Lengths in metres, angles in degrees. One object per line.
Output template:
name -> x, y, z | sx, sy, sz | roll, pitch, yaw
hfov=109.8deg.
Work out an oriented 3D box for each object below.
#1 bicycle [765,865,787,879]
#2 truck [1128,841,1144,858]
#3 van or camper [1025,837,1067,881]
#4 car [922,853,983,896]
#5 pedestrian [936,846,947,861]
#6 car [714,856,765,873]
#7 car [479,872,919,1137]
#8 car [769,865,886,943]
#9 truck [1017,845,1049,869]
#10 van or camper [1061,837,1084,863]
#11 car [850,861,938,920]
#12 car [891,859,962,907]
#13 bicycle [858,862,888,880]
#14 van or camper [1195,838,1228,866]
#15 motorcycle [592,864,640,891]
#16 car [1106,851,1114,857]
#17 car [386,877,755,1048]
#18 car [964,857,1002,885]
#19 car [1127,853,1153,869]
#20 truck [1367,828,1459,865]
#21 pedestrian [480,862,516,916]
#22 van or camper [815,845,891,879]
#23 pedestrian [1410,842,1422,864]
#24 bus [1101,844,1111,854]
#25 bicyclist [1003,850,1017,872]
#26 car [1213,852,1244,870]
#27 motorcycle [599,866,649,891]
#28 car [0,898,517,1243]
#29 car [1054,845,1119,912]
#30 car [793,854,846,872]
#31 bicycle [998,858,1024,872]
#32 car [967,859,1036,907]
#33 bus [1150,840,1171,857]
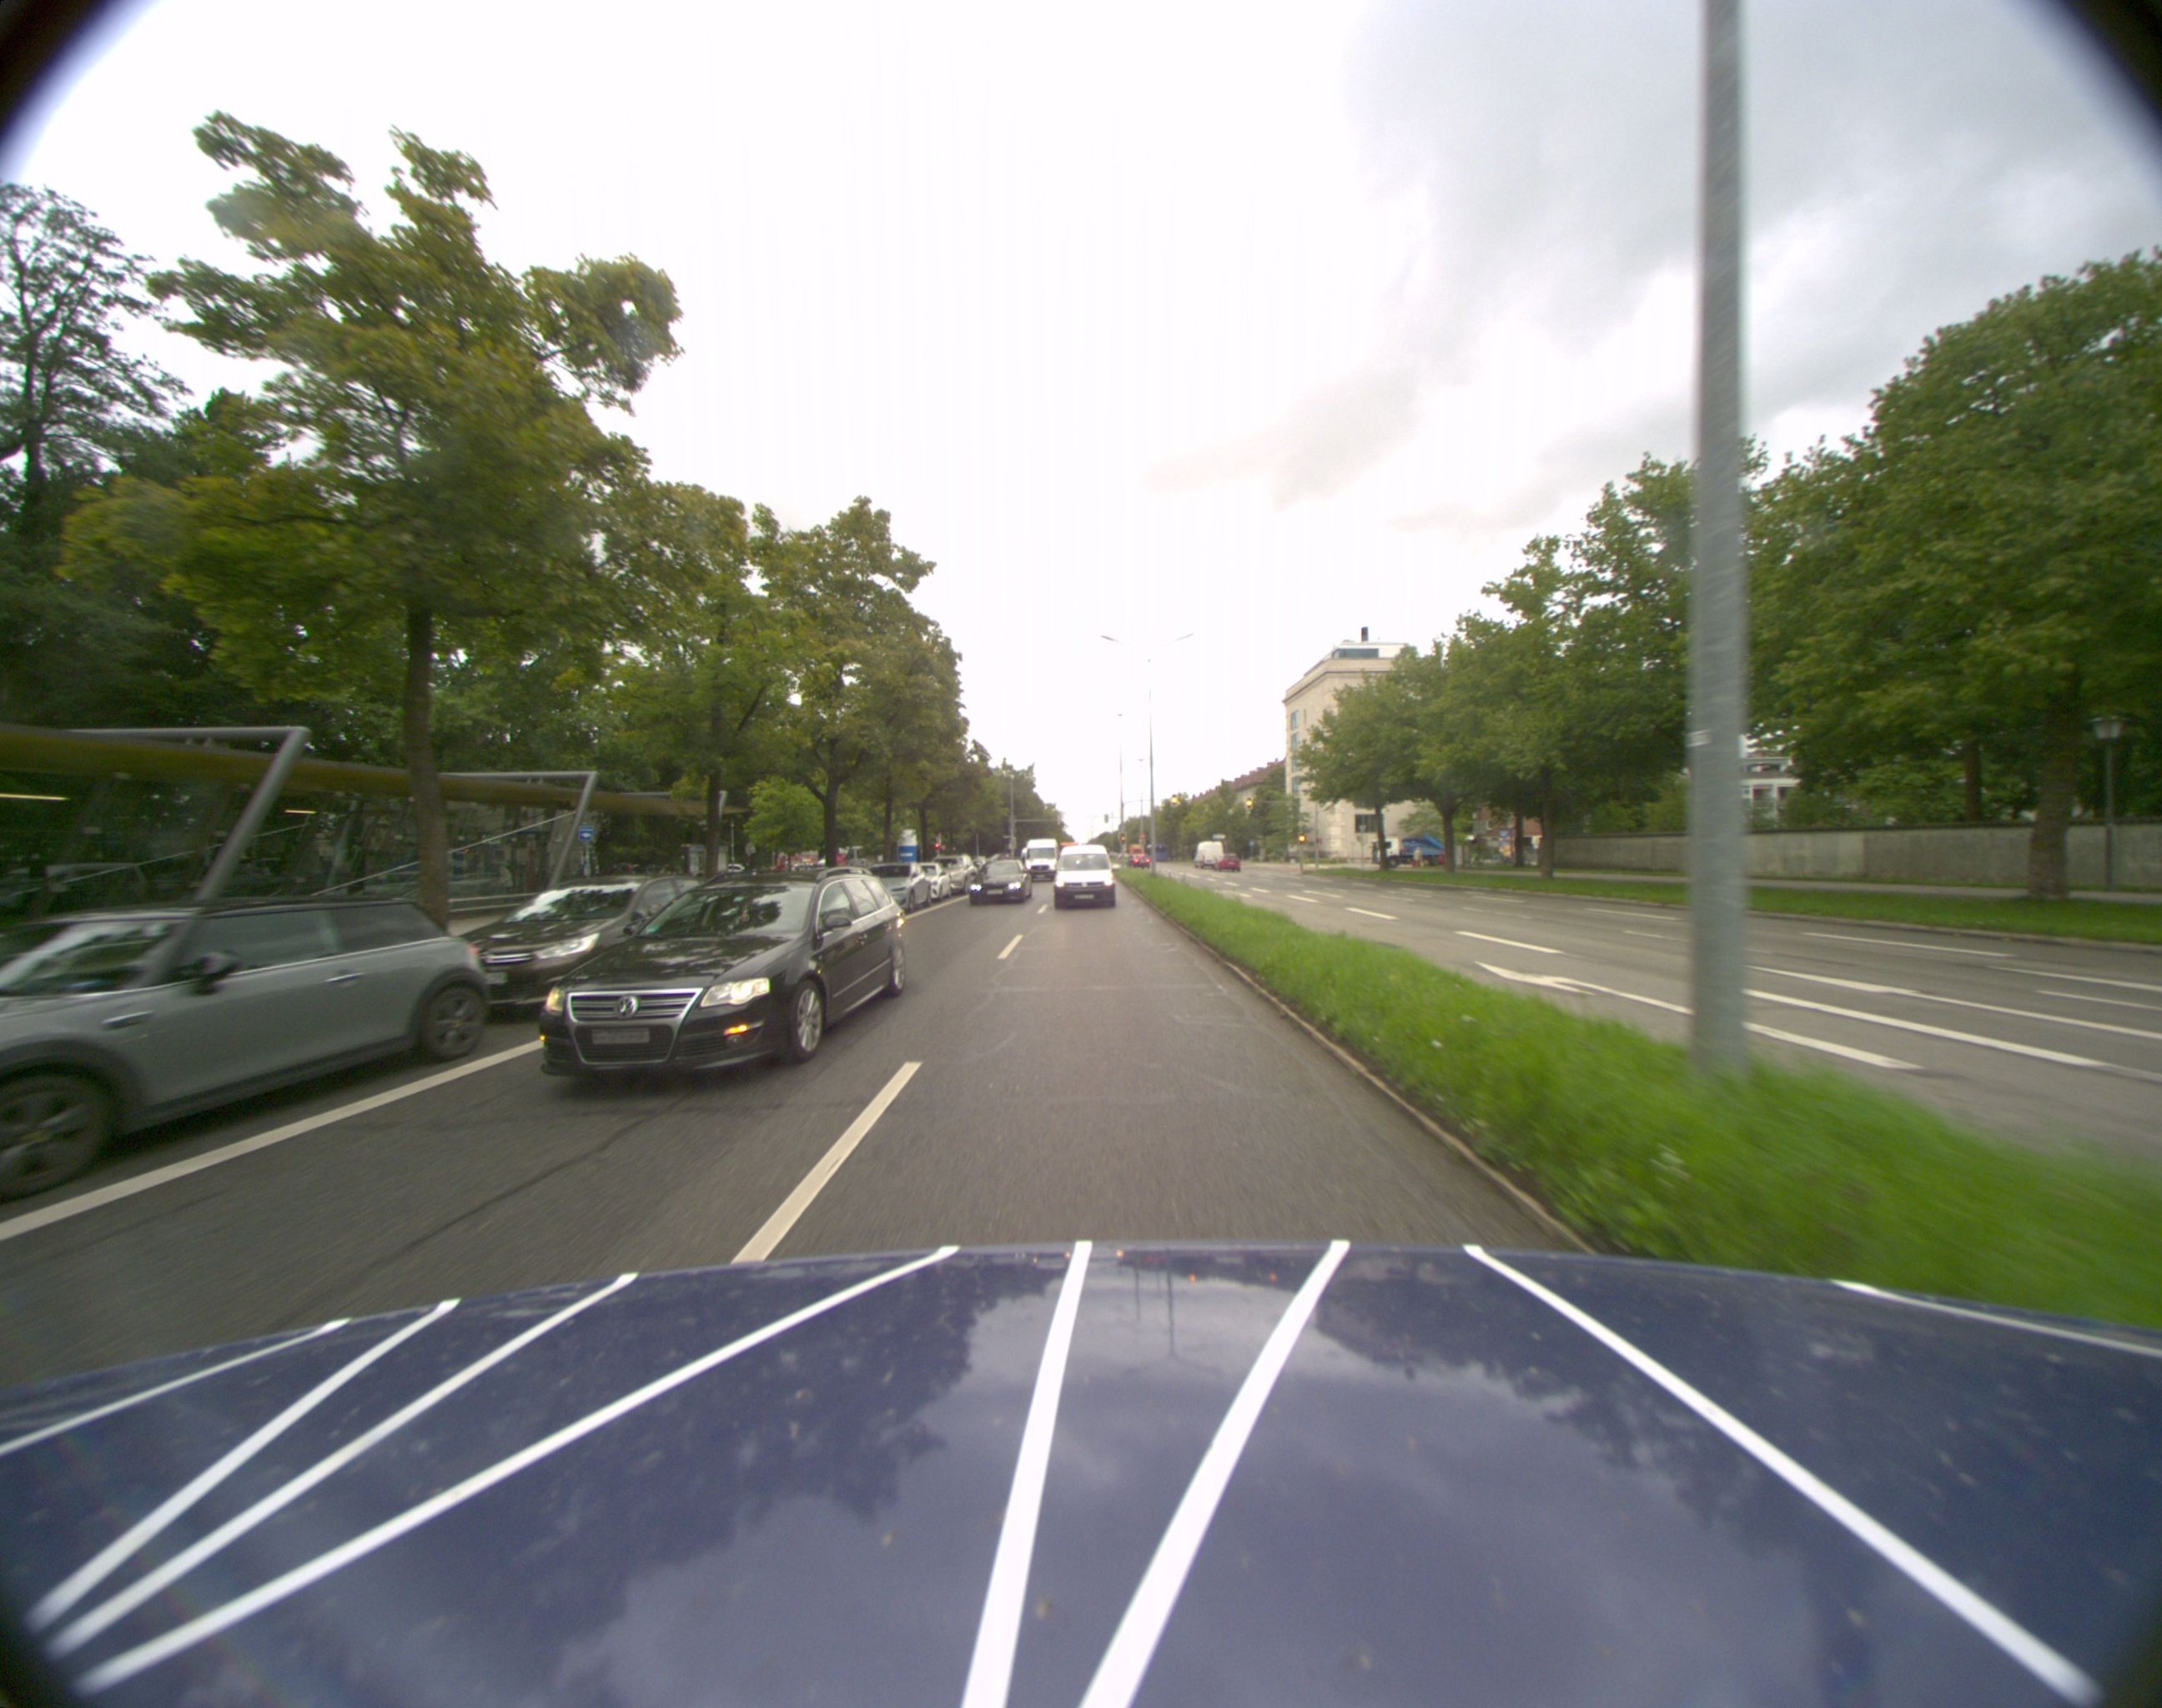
bicycle -> -24.855, 1.448, 61.994 | 0.609, 1.088, 2.116 | -1, 0, 10
truck -> 11.108, -0.979, 153.562 | 2.787, 3.337, 7.265 | -1, 0, 0
van or camper -> -2.116, 0.302, 48.201 | 2.183, 2.546, 7.074 | -1, 0, 1
car -> -5.605, 0.859, 33.750 | 1.751, 1.714, 4.906 | -2, 0, 1
pedestrian -> -14.024, -0.072, 76.343 | 0.691, 1.529, 0.738 | -1, 1, 20
car -> -31.529, 0.983, 70.194 | 3.947, 1.445, 1.627 | -1, 1, -2
car -> -2.887, 1.004, 7.104 | 1.752, 1.466, 4.670 | -2, 0, -1
car -> -5.969, 1.102, 18.382 | 1.546, 1.525, 4.089 | -2, 0, -2
truck -> -5.373, 0.309, 86.006 | 1.997, 2.589, 7.231 | -1, 1, 10
van or camper -> -1.127, -0.516, 100.961 | 2.780, 3.219, 7.074 | -1, 0, 1
car -> -5.593, 1.019, 23.223 | 1.725, 1.525, 4.398 | -1, 0, -2
car -> -5.746, 1.036, 28.816 | 1.706, 1.499, 4.503 | -3, 0, 0
bicycle -> -13.307, 1.073, 48.609 | 1.809, 1.136, 0.568 | 1, 1, 10
van or camper -> 12.899, -0.196, 75.706 | 2.183, 2.631, 6.951 | 1, 0, 1
motorcycle -> -21.491, 1.067, 35.159 | 0.657, 1.170, 1.817 | -1, 0, 26
car -> 7.884, -0.069, 204.341 | 1.931, 1.453, 4.898 | 1, 0, 0
car -> -5.932, 1.138, 9.592 | 1.722, 1.500, 4.223 | -1, 0, 1
car -> -5.770, 0.971, 45.185 | 1.717, 1.538, 4.381 | -1, 0, 0
car -> 5.715, 0.675, 73.987 | 1.645, 1.478, 3.777 | -1, 0, -10
truck -> 32.742, -0.722, 75.089 | 7.817, 3.468, 2.772 | -1, 1, 2
pedestrian -> -16.637, 0.979, 21.694 | 0.580, 1.504, 0.693 | -2, 1, -18
van or camper -> -16.556, 0.538, 55.596 | 2.144, 2.283, 6.207 | -1, 0, 18
pedestrian -> 26.600, -0.049, 60.311 | 0.709, 1.730, 0.517 | -1, 1, -4
bus -> 8.525, -1.609, 259.162 | 2.752, 3.324, 12.271 | 0, 0, -1
bicyclist -> -5.822, 0.581, 62.053 | 0.829, 1.754, 0.744 | -2, 1, -34
car -> 12.476, 0.564, 64.667 | 1.747, 1.443, 4.657 | 1, 0, 1
motorcycle -> -20.795, 1.112, 34.571 | 0.657, 1.056, 1.817 | -1, 1, 39
car -> -6.003, 1.152, 4.879 | 1.638, 1.445, 4.078 | -1, 0, 1
car -> 0.121, 0.651, 23.201 | 1.752, 1.809, 4.670 | -1, 0, -1
car -> -24.236, 0.824, 70.535 | 4.312, 1.489, 1.887 | -1, 1, -2
bicycle -> -5.741, 0.920, 62.100 | 1.951, 1.075, 0.746 | -2, 1, -35
car -> -2.686, 0.960, 26.831 | 1.819, 1.421, 4.671 | -2, 0, 1
bus -> 15.546, -1.067, 150.192 | 2.752, 3.324, 12.047 | 0, 0, -1
